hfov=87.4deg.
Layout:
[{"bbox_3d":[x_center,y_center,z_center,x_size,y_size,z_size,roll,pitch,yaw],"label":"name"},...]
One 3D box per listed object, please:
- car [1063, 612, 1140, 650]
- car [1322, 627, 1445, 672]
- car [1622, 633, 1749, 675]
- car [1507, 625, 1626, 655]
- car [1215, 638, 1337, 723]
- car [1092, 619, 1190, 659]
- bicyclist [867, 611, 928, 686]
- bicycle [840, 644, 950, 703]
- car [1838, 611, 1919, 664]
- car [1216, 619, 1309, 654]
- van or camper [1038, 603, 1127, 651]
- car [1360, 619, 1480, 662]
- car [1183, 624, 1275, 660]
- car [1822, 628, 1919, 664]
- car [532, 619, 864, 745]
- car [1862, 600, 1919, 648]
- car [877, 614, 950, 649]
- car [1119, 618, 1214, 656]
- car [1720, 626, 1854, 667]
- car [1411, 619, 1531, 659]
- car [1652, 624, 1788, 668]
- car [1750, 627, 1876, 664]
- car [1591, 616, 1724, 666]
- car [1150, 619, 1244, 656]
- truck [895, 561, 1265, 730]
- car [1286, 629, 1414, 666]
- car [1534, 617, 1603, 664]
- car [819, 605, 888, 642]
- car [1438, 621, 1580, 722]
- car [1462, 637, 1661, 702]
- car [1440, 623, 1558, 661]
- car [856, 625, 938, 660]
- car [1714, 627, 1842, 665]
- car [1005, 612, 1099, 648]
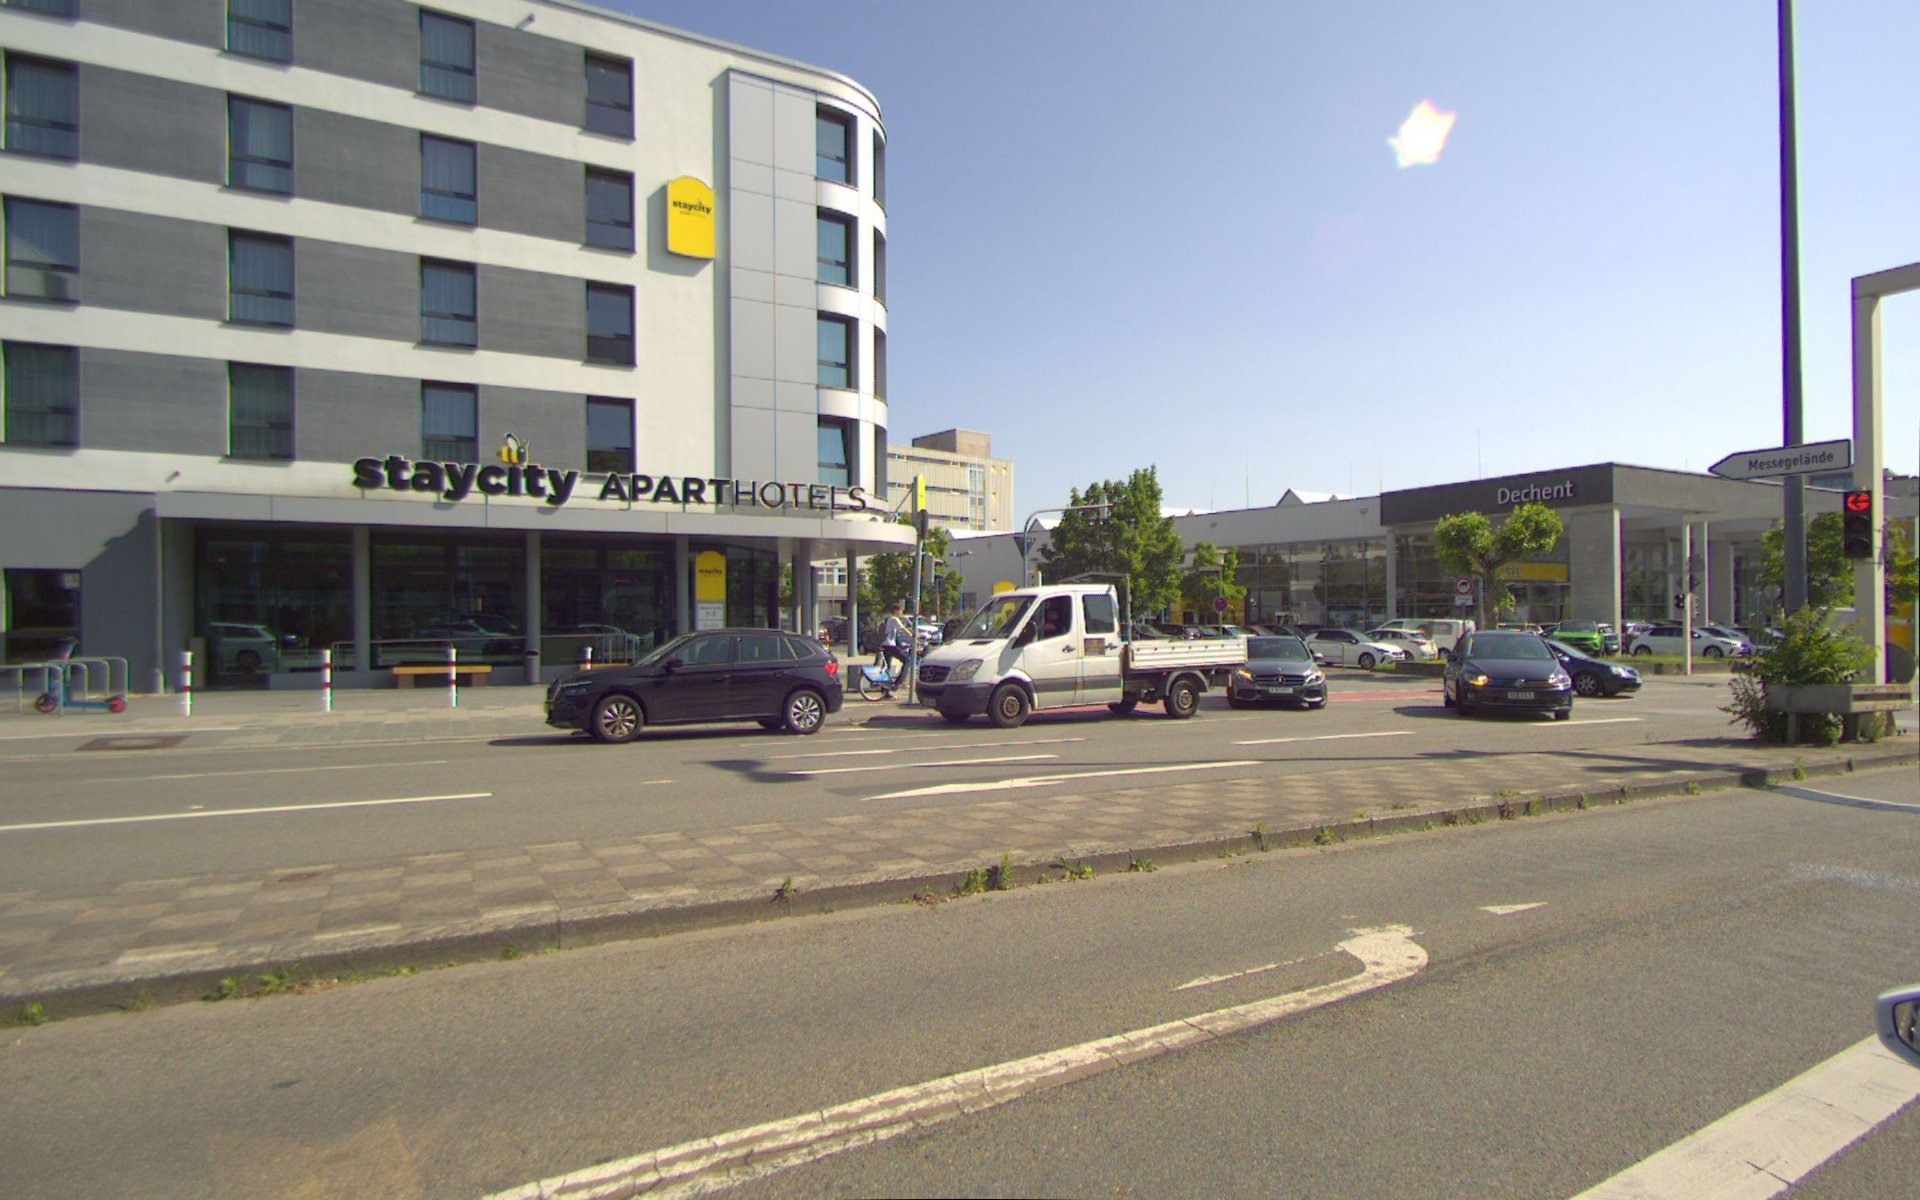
[{"bbox_3d":[7.763,1.698,55.306,1.983,2.040,3.956,1,-2,-38],"label":"car"},{"bbox_3d":[17.400,1.992,41.426,1.980,1.719,4.328,1,-2,-35],"label":"car"},{"bbox_3d":[30.470,2.210,42.260,1.981,1.620,3.959,1,-2,-36],"label":"car"},{"bbox_3d":[27.874,1.841,46.270,1.982,1.284,4.325,4,-4,-37],"label":"car"},{"bbox_3d":[6.574,1.623,21.312,1.866,1.378,4.002,3,1,10],"label":"car"},{"bbox_3d":[8.272,1.758,46.140,1.980,1.719,4.328,1,-2,-35],"label":"car"},{"bbox_3d":[-1.270,0.971,20.405,1.015,1.479,0.764,1,-1,-31],"label":"bicyclist"},{"bbox_3d":[-1.306,1.462,20.377,2.137,1.131,0.764,1,-1,-31],"label":"bicycle"},{"bbox_3d":[49.095,1.941,52.397,2.096,2.720,4.490,1,-1,-21],"label":"car"},{"bbox_3d":[15.820,1.886,52.697,1.982,1.719,4.324,1,-2,-37],"label":"car"},{"bbox_3d":[6.411,1.422,53.002,1.983,2.432,4.678,1,-2,-38],"label":"van or camper"},{"bbox_3d":[19.812,1.707,43.374,1.982,1.719,4.323,1,-2,-38],"label":"car"},{"bbox_3d":[13.733,2.126,51.544,1.980,1.719,4.328,1,-2,-35],"label":"car"},{"bbox_3d":[47.025,2.296,51.130,1.973,1.719,4.345,1,-1,-24],"label":"car"},{"bbox_3d":[-3.796,1.153,14.713,4.360,1.598,1.985,1,-4,-30],"label":"car"},{"bbox_3d":[53.244,1.357,55.759,1.973,2.635,4.345,1,-1,-24],"label":"car"},{"bbox_3d":[-2.793,1.848,59.405,1.971,1.815,4.376,2,0,-42],"label":"car"},{"bbox_3d":[9.892,1.737,48.319,1.980,1.719,4.328,1,-2,-35],"label":"car"},{"bbox_3d":[37.446,2.083,45.598,1.978,1.719,4.333,2,-1,-32],"label":"car"},{"bbox_3d":[22.623,1.695,44.605,1.982,1.719,4.323,1,-2,-38],"label":"car"},{"bbox_3d":[32.815,1.958,43.481,1.978,1.789,4.274,1,-2,-32],"label":"car"},{"bbox_3d":[41.632,2.188,49.108,1.978,1.719,4.333,1,-2,-32],"label":"car"},{"bbox_3d":[27.359,1.579,39.497,1.978,1.862,3.849,1,-2,-32],"label":"car"},{"bbox_3d":[11.667,1.818,49.681,1.980,1.719,4.328,1,-2,-35],"label":"car"},{"bbox_3d":[2.206,0.801,17.849,6.355,2.578,2.349,1,-2,-28],"label":"truck"},{"bbox_3d":[15.105,1.827,39.096,1.980,1.317,4.328,1,-2,-35],"label":"car"},{"bbox_3d":[24.001,1.613,39.721,1.870,1.756,3.293,0,-3,23],"label":"car"},{"bbox_3d":[-6.779,1.488,63.566,1.985,2.158,4.565,2,0,-42],"label":"car"},{"bbox_3d":[10.092,1.237,18.755,1.855,1.639,4.133,0,-1,22],"label":"car"},{"bbox_3d":[15.318,1.705,25.731,1.983,1.461,3.956,1,-2,-38],"label":"car"},{"bbox_3d":[24.559,1.876,45.883,1.982,1.612,4.325,1,-2,-37],"label":"car"},{"bbox_3d":[-3.003,1.945,47.191,1.979,1.466,4.331,2,-1,-33],"label":"car"},{"bbox_3d":[38.788,2.138,47.710,1.978,1.719,4.333,1,-2,-32],"label":"car"},{"bbox_3d":[4.573,1.483,50.250,4.304,1.719,1.991,-1,-2,39],"label":"car"}]
